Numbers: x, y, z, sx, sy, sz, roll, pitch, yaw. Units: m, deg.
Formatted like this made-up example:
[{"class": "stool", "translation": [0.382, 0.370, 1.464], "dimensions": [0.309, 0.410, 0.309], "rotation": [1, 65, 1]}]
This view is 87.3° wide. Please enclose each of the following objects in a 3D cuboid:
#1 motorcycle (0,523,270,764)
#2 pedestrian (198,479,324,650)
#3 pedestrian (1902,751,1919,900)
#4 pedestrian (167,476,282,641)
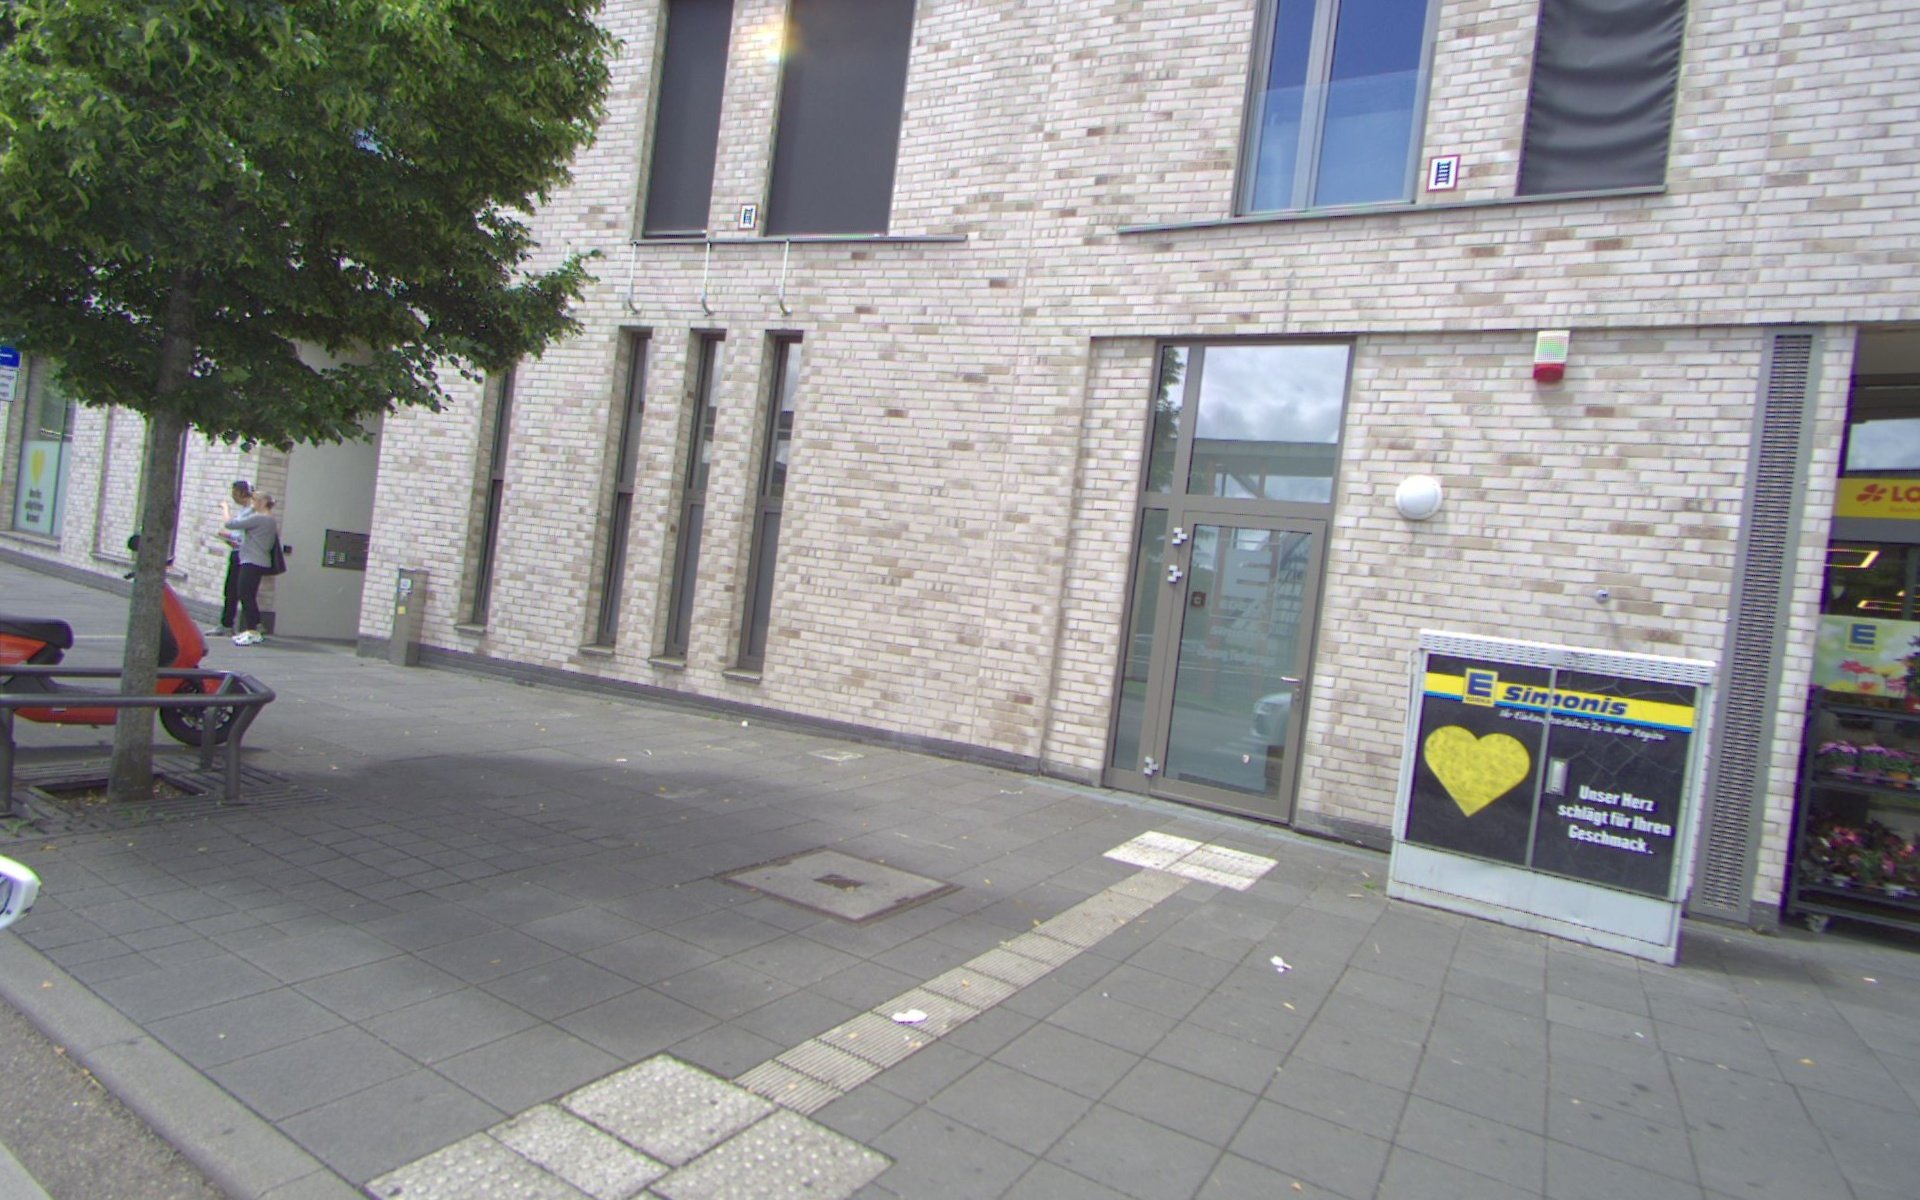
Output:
[{"class": "motorcycle", "translation": [-5.251, 0.230, 5.733], "dimensions": [2.043, 1.282, 0.664], "rotation": [5, 1, -44]}, {"class": "pedestrian", "translation": [-7.788, -0.377, 11.232], "dimensions": [0.743, 1.789, 0.735], "rotation": [6, 1, 14]}, {"class": "pedestrian", "translation": [7.939, 1.529, 7.879], "dimensions": [0.679, 1.713, 0.651], "rotation": [6, 1, -45]}, {"class": "pedestrian", "translation": [-8.412, -0.451, 11.519], "dimensions": [0.612, 1.789, 0.737], "rotation": [6, 1, 22]}]
